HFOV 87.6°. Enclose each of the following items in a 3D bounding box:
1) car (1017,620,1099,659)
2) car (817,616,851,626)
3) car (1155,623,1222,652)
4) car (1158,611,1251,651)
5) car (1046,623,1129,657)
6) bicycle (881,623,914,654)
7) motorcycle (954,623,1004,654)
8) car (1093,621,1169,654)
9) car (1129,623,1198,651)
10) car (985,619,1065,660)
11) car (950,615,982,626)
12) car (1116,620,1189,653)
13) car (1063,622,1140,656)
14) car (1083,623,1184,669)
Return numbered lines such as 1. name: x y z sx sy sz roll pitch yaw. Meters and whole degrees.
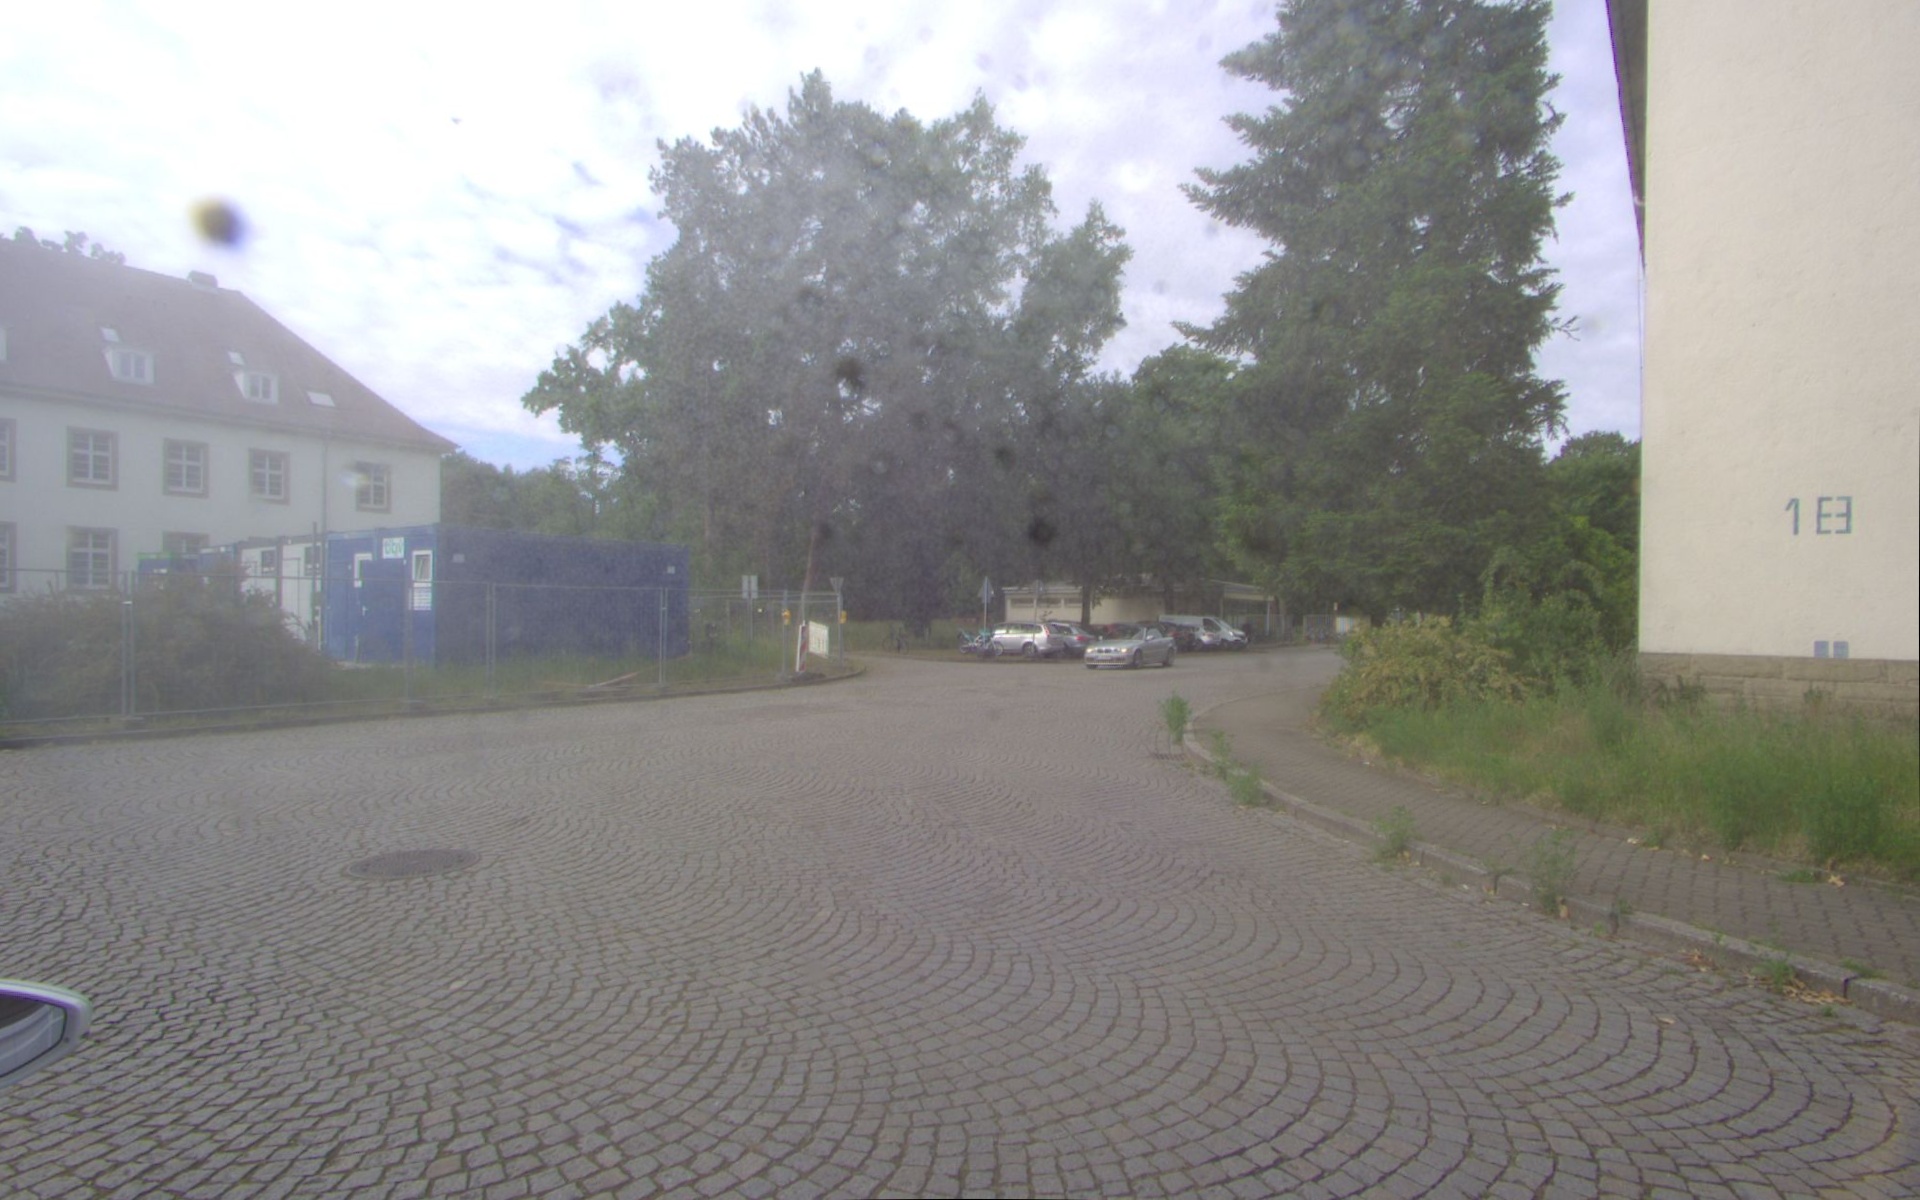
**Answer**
1. car: 4.176 1.666 42.849 3.171 1.467 1.384 2 0 28
2. car: -13.005 2.166 103.253 3.326 1.078 1.256 0 -1 2
3. car: 12.690 2.084 55.643 3.317 1.425 1.558 2 0 32
4. car: 14.096 1.751 57.949 4.891 2.017 1.687 2 0 37
5. car: 5.756 1.787 45.142 3.313 1.338 1.635 2 0 28
6. bicycle: -2.402 1.467 38.405 0.507 1.182 1.795 1 -1 -30
7. motorcycle: 0.747 1.510 39.548 1.936 1.180 0.516 1 0 31
8. car: 8.366 1.818 49.124 3.314 1.462 1.559 2 0 29
9. car: 10.916 1.980 53.776 3.317 1.336 1.467 2 0 32
10. car: 2.655 1.591 41.110 2.977 1.508 1.318 2 0 28
11. car: 0.617 2.074 102.983 3.326 1.078 1.256 0 -1 2
12. car: 9.893 1.869 51.629 3.317 1.533 1.558 2 0 32
13. car: 6.724 1.845 47.815 3.320 1.379 1.439 2 0 36
14. car: 5.652 1.448 32.270 1.585 1.363 4.270 -2 -2 34
